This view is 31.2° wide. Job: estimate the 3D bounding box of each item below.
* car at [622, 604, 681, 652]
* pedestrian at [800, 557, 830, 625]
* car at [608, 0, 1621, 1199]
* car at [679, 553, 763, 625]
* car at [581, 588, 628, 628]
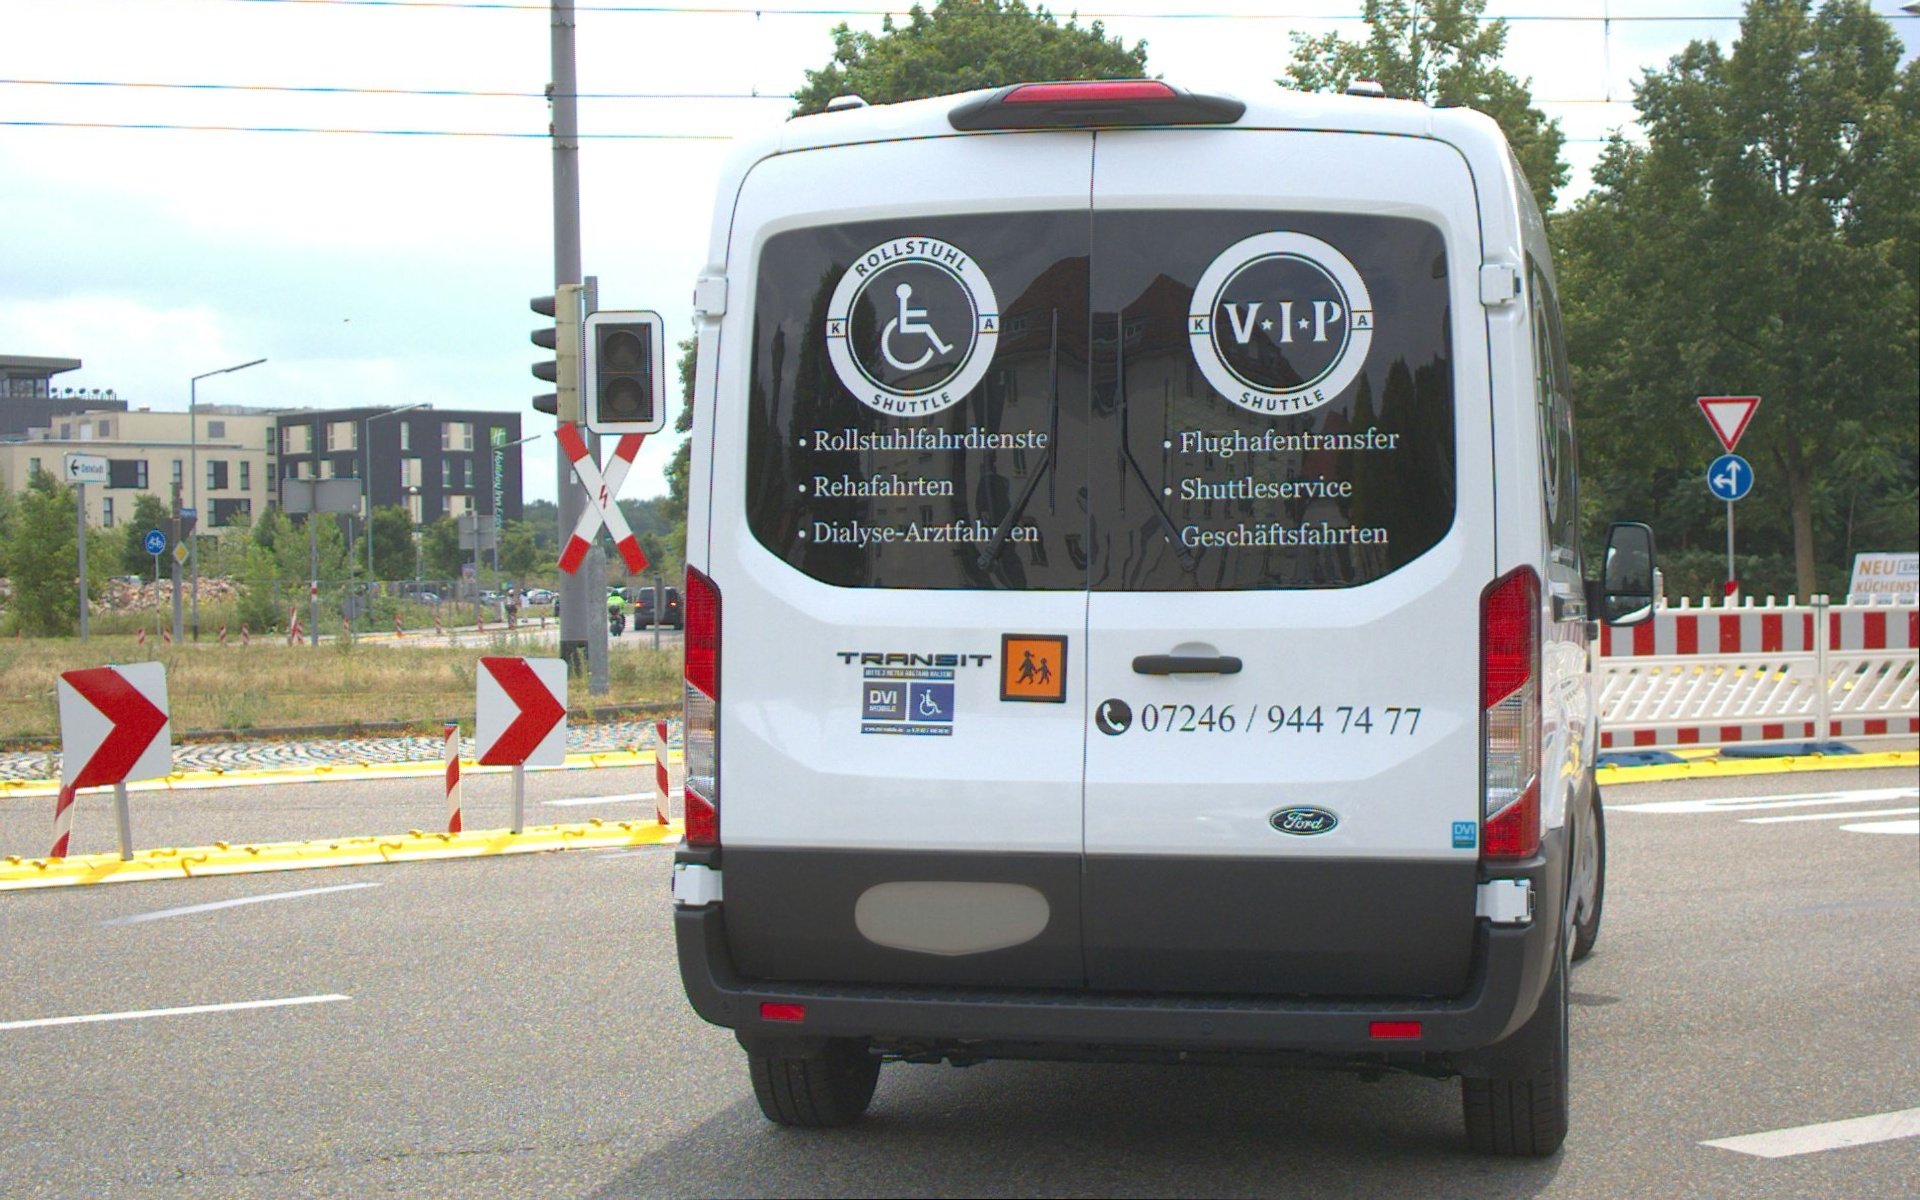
[{"bbox_3d":[-11.993,1.097,133.986,1.993,1.842,4.000,0,-1,-1],"label":"car"},{"bbox_3d":[-3.420,-0.208,81.144,0.447,1.588,0.671,0,0,24],"label":"pedestrian"},{"bbox_3d":[0.828,0.000,10.011,2.127,2.688,5.629,0,0,11],"label":"car"},{"bbox_3d":[-6.891,-0.290,98.814,1.993,2.007,4.001,0,-1,-10],"label":"car"},{"bbox_3d":[-17.211,0.393,166.594,1.993,1.842,4.000,0,-1,-2],"label":"car"}]
